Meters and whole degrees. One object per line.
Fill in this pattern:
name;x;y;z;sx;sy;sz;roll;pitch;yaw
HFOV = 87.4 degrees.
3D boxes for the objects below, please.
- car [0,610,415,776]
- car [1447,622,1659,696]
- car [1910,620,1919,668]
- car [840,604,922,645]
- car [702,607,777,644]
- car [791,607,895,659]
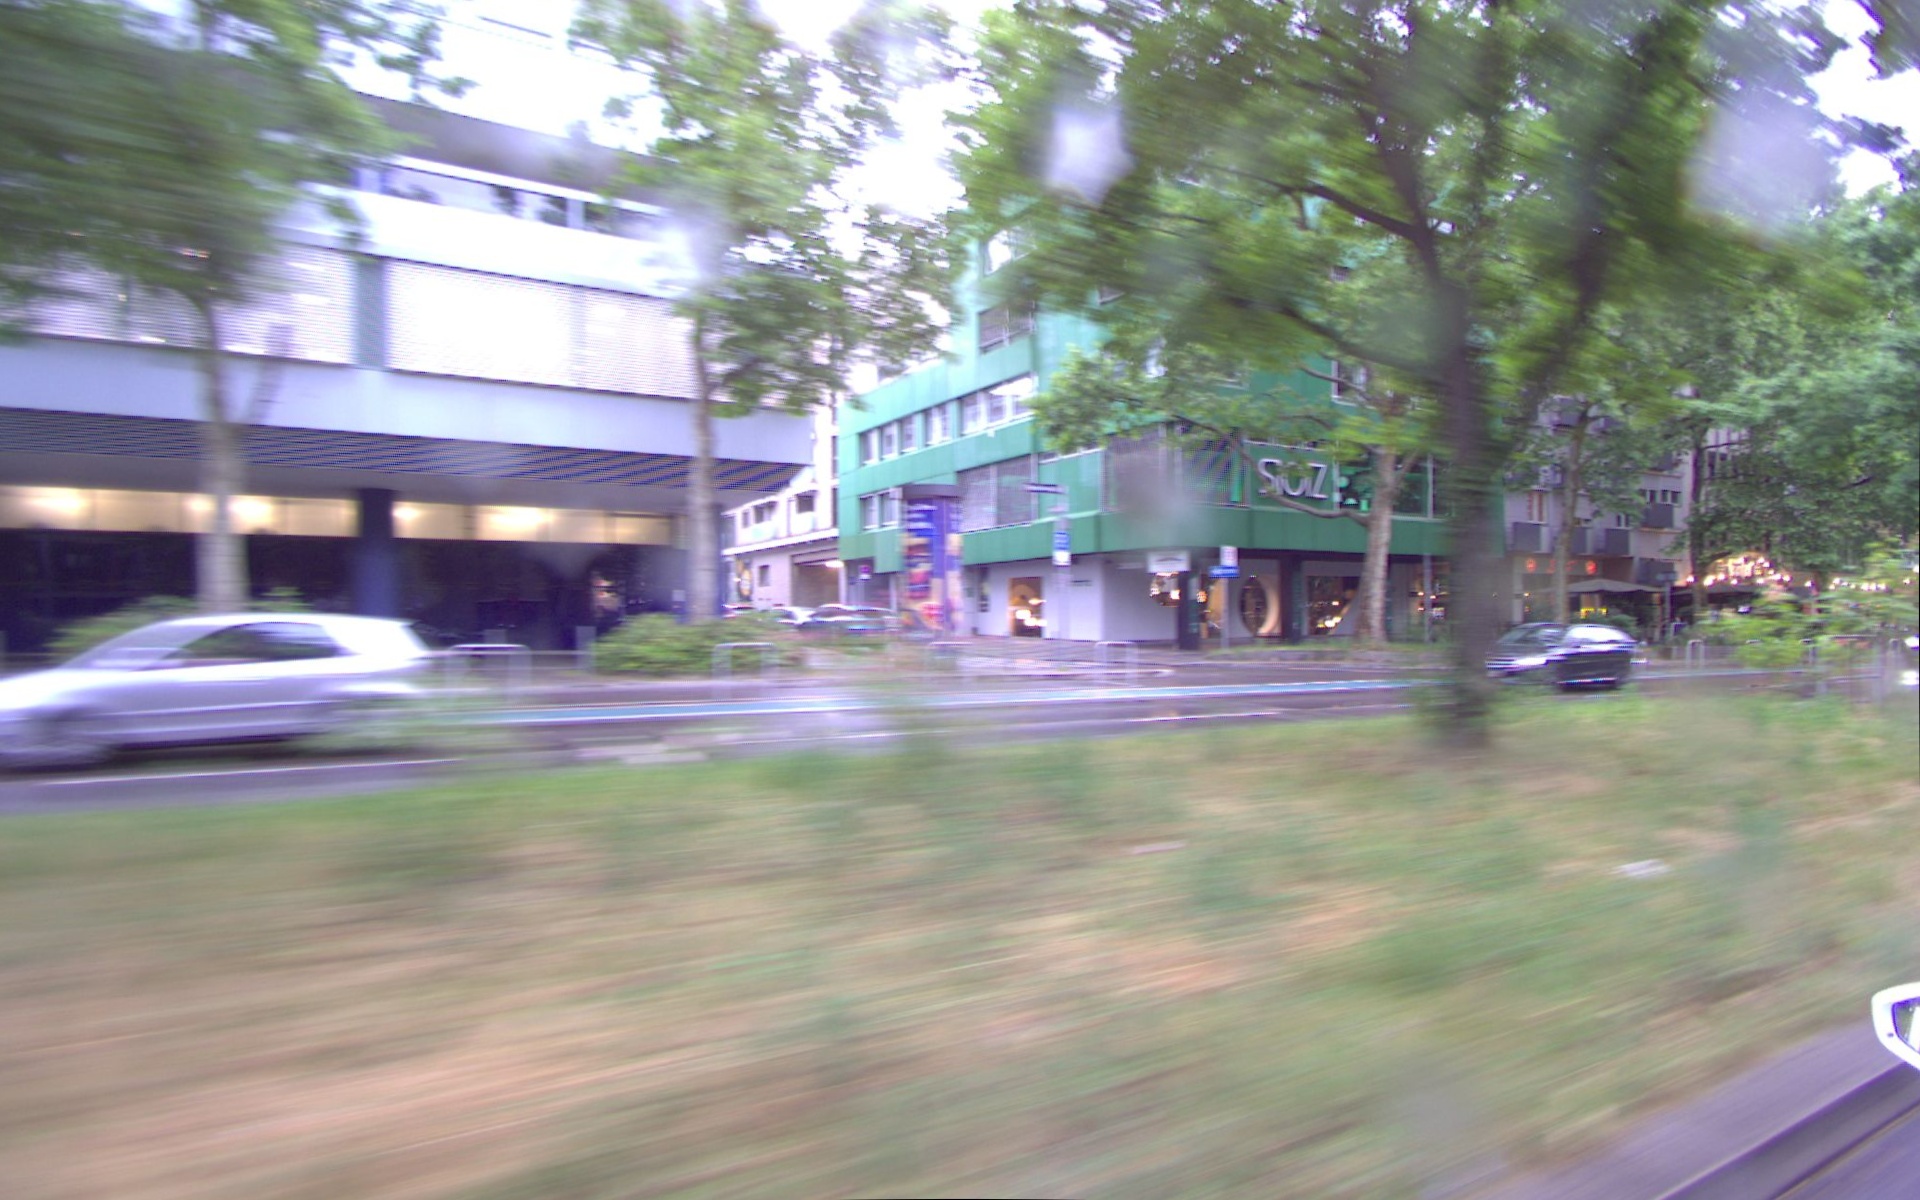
car;-7.562;0.863;10.225;3.516;1.482;1.156;1;-1;-29
car;13.312;1.256;22.497;4.697;1.511;1.985;1;-1;-29
car;35.148;1.555;35.756;4.410;1.648;1.703;1;0;-44
car;-3.552;1.044;44.417;1.979;1.706;3.963;1;0;-33
car;-9.885;1.136;44.781;1.976;1.561;4.967;1;-1;-29
car;-4.250;1.148;35.638;1.976;1.714;4.967;1;-1;-29
